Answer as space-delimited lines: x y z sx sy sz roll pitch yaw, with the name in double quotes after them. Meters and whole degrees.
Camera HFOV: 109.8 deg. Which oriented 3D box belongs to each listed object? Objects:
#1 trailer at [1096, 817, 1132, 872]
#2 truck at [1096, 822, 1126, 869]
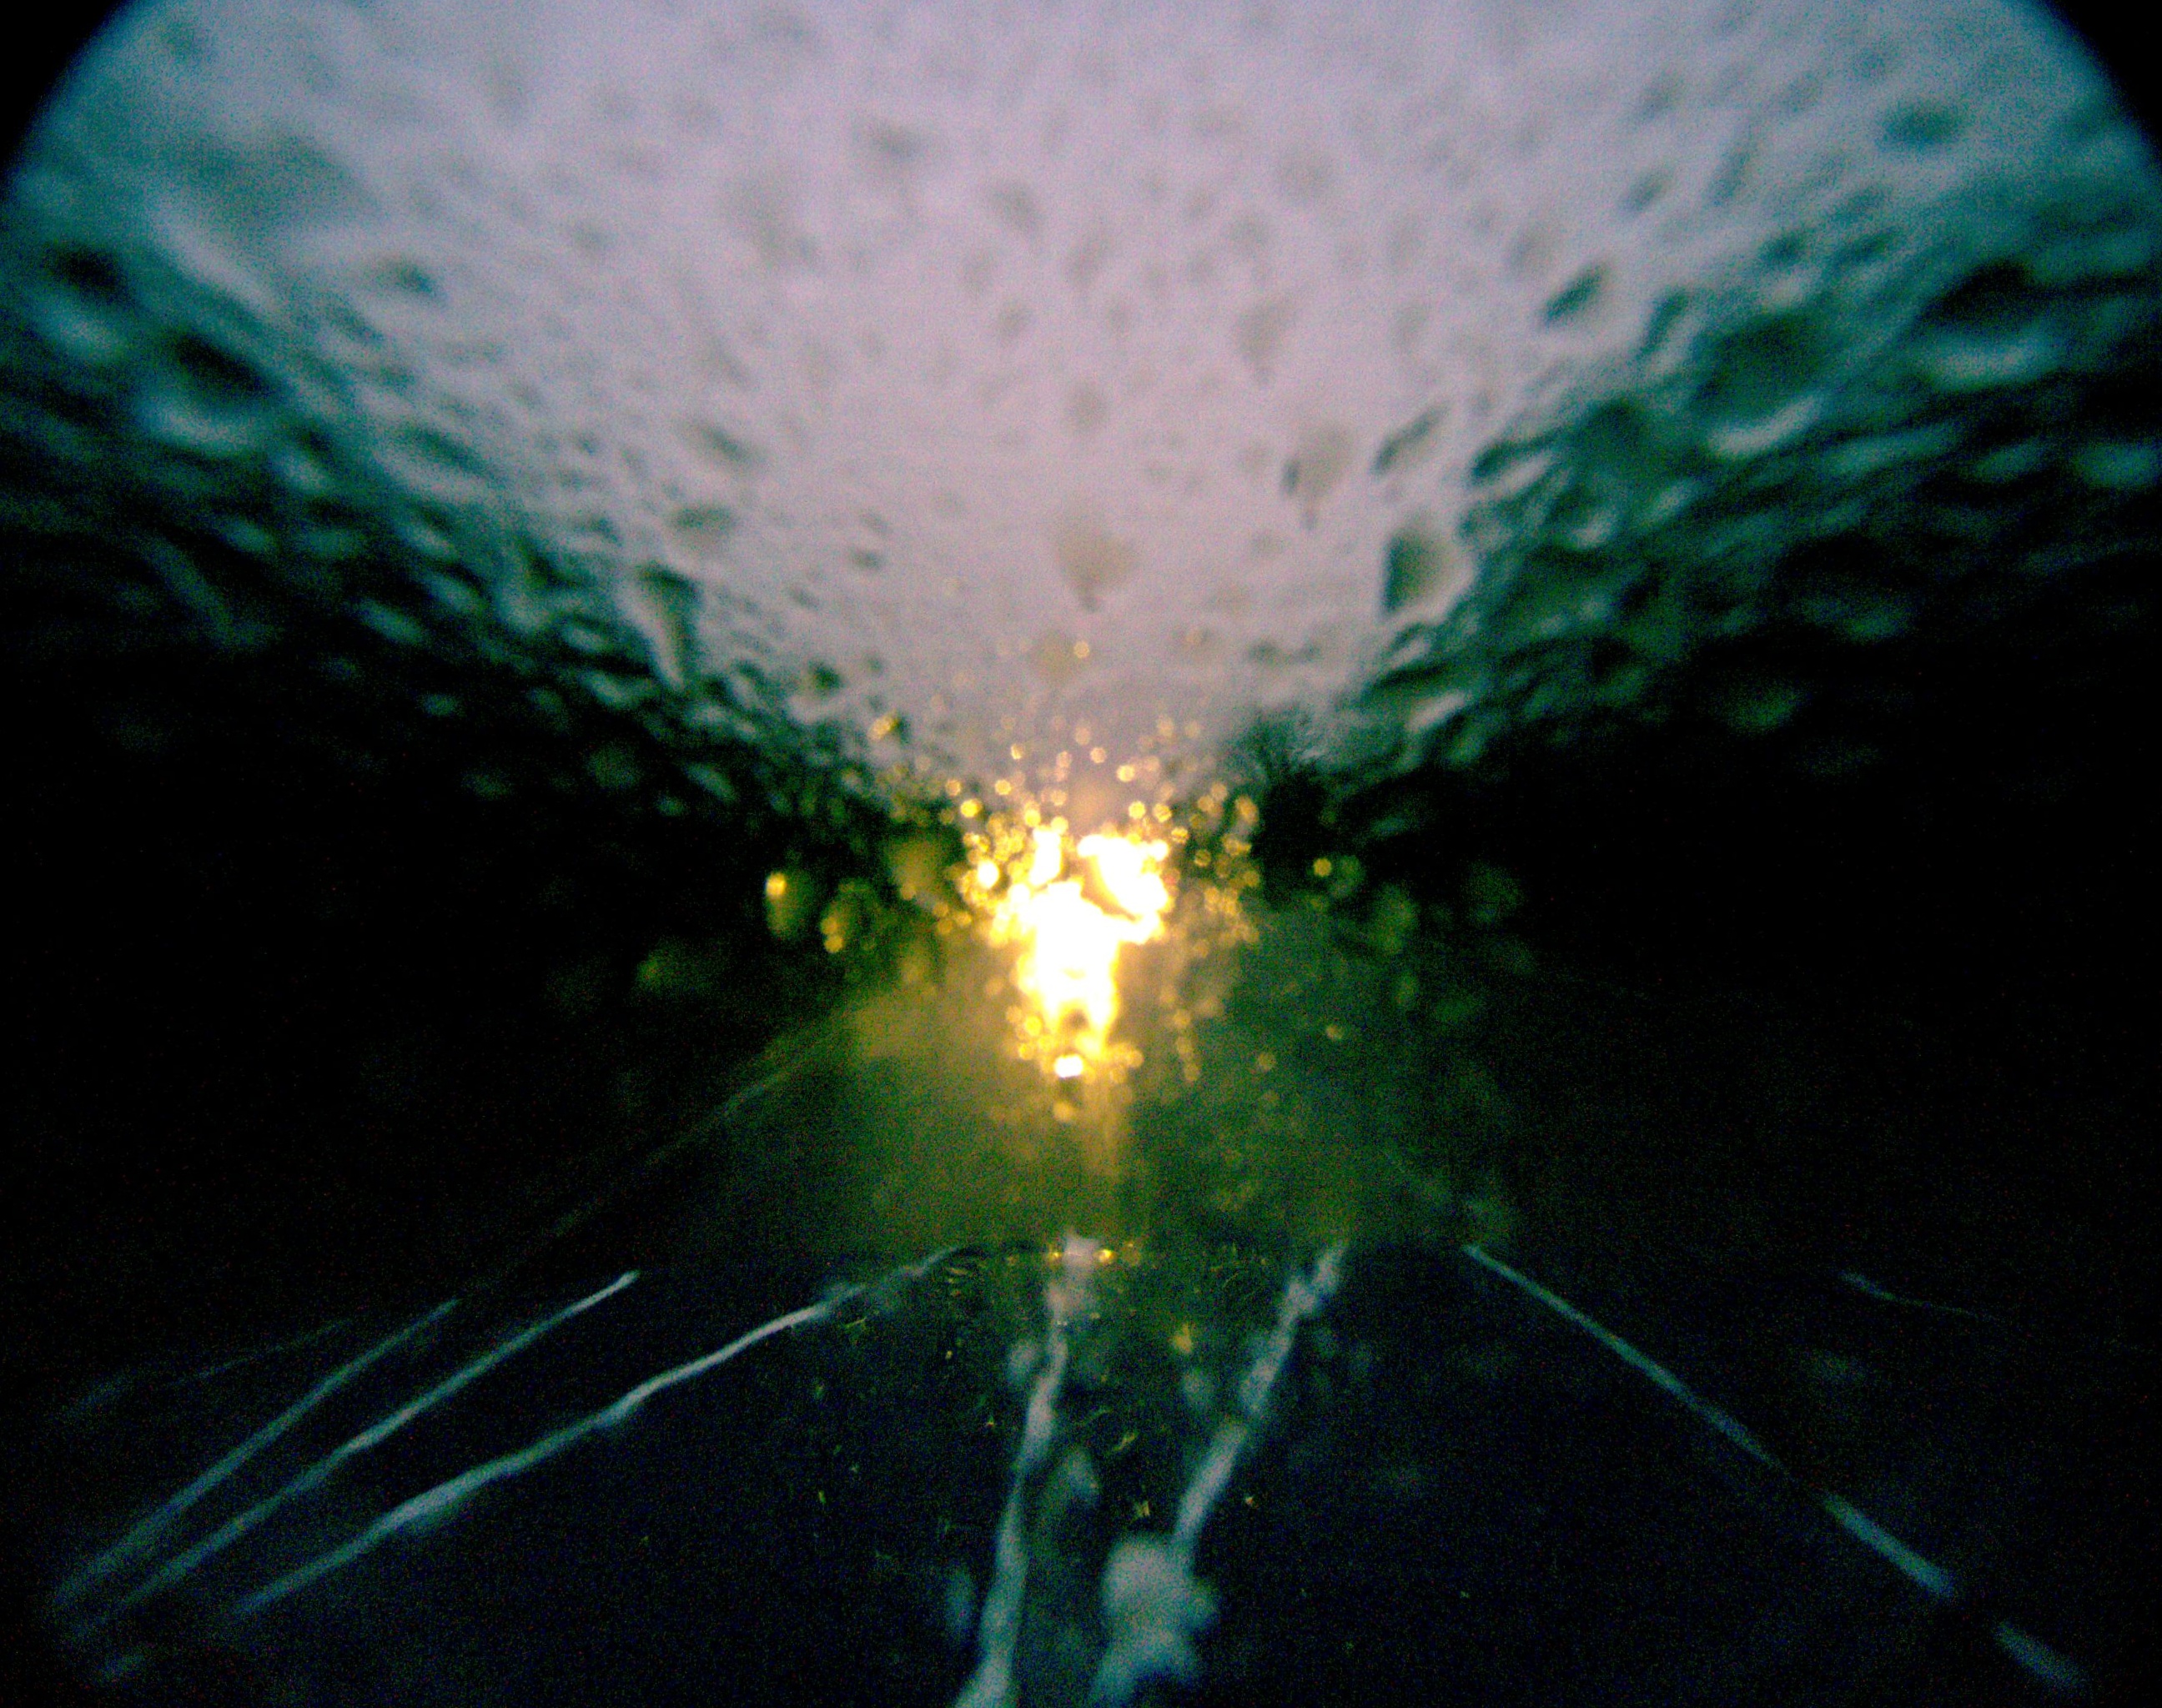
2.833 -0.807 68.095 2.677 4.432 12.241 -2 0 1 "trailer"
2.928 -0.815 74.351 2.648 4.390 5.553 -2 1 1 "truck"
